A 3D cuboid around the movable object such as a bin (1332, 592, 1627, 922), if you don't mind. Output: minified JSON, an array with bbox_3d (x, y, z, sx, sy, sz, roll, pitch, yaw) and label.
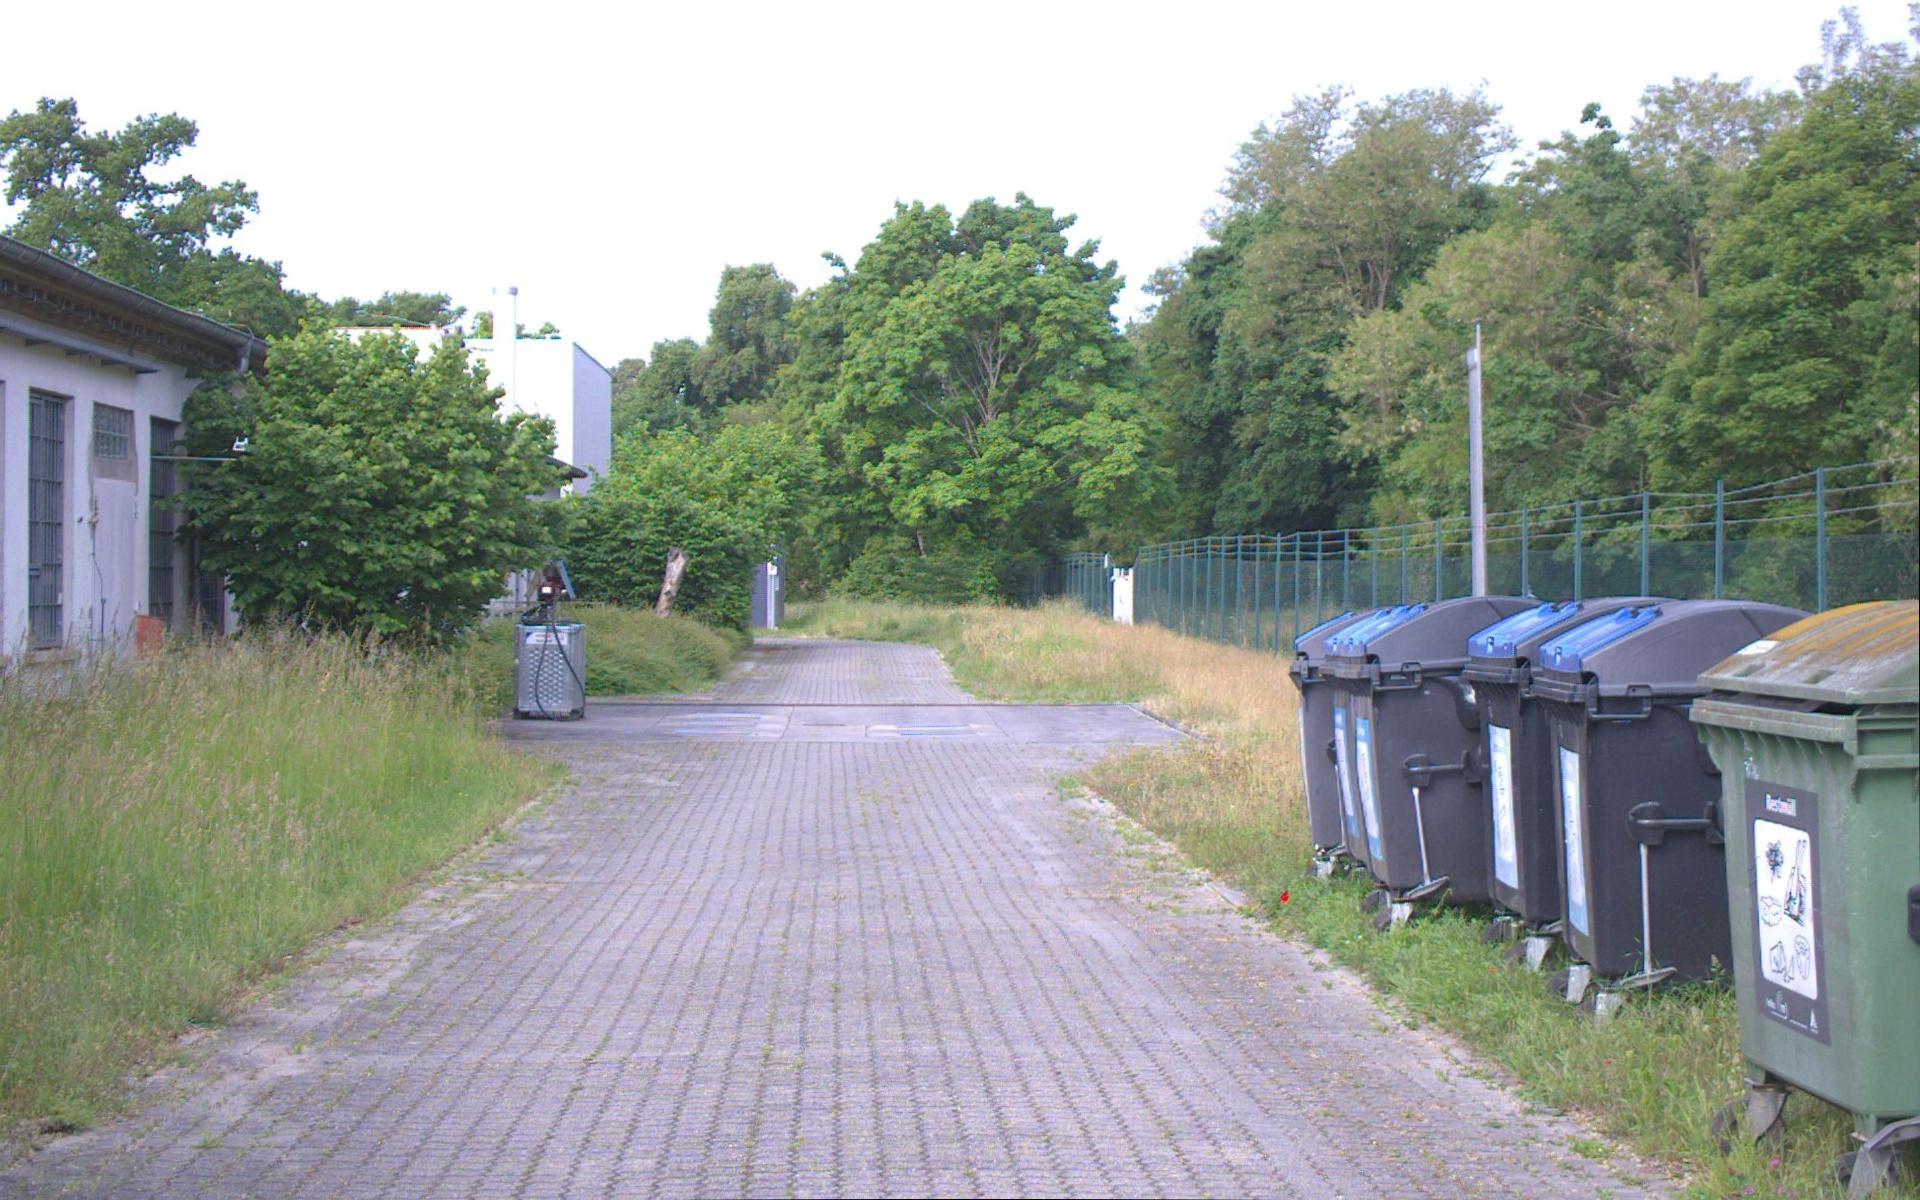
[{"bbox_3d":[2.165,0.634,14.533,1.123,1.317,1.325,0,0,4],"label":"movable object such as a bin"}]

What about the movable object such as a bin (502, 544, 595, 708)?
[{"bbox_3d":[-5.031,0.311,42.083,0.935,1.975,0.853,0,0,7],"label":"movable object such as a bin"}]

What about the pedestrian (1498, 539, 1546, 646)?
[{"bbox_3d":[10.629,-0.136,65.010,0.759,2.007,0.664,0,0,-3],"label":"pedestrian"}]

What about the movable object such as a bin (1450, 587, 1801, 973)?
[{"bbox_3d":[2.485,0.644,13.036,1.123,1.369,1.493,0,0,4],"label":"movable object such as a bin"}]

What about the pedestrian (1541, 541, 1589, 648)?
[{"bbox_3d":[11.411,-0.106,64.861,0.759,2.007,0.664,0,0,-3],"label":"pedestrian"}]

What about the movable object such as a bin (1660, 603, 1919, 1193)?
[{"bbox_3d":[2.407,0.659,8.246,1.122,1.292,1.380,0,0,-2],"label":"movable object such as a bin"}]

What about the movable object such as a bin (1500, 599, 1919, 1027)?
[{"bbox_3d":[2.452,0.663,11.453,1.154,1.320,1.493,0,0,4],"label":"movable object such as a bin"}]

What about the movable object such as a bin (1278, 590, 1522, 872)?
[{"bbox_3d":[2.180,0.630,17.246,1.123,1.346,1.425,0,0,4],"label":"movable object such as a bin"}]

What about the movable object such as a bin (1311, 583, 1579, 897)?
[{"bbox_3d":[2.208,0.619,15.836,1.123,1.374,1.325,0,0,4],"label":"movable object such as a bin"}]
